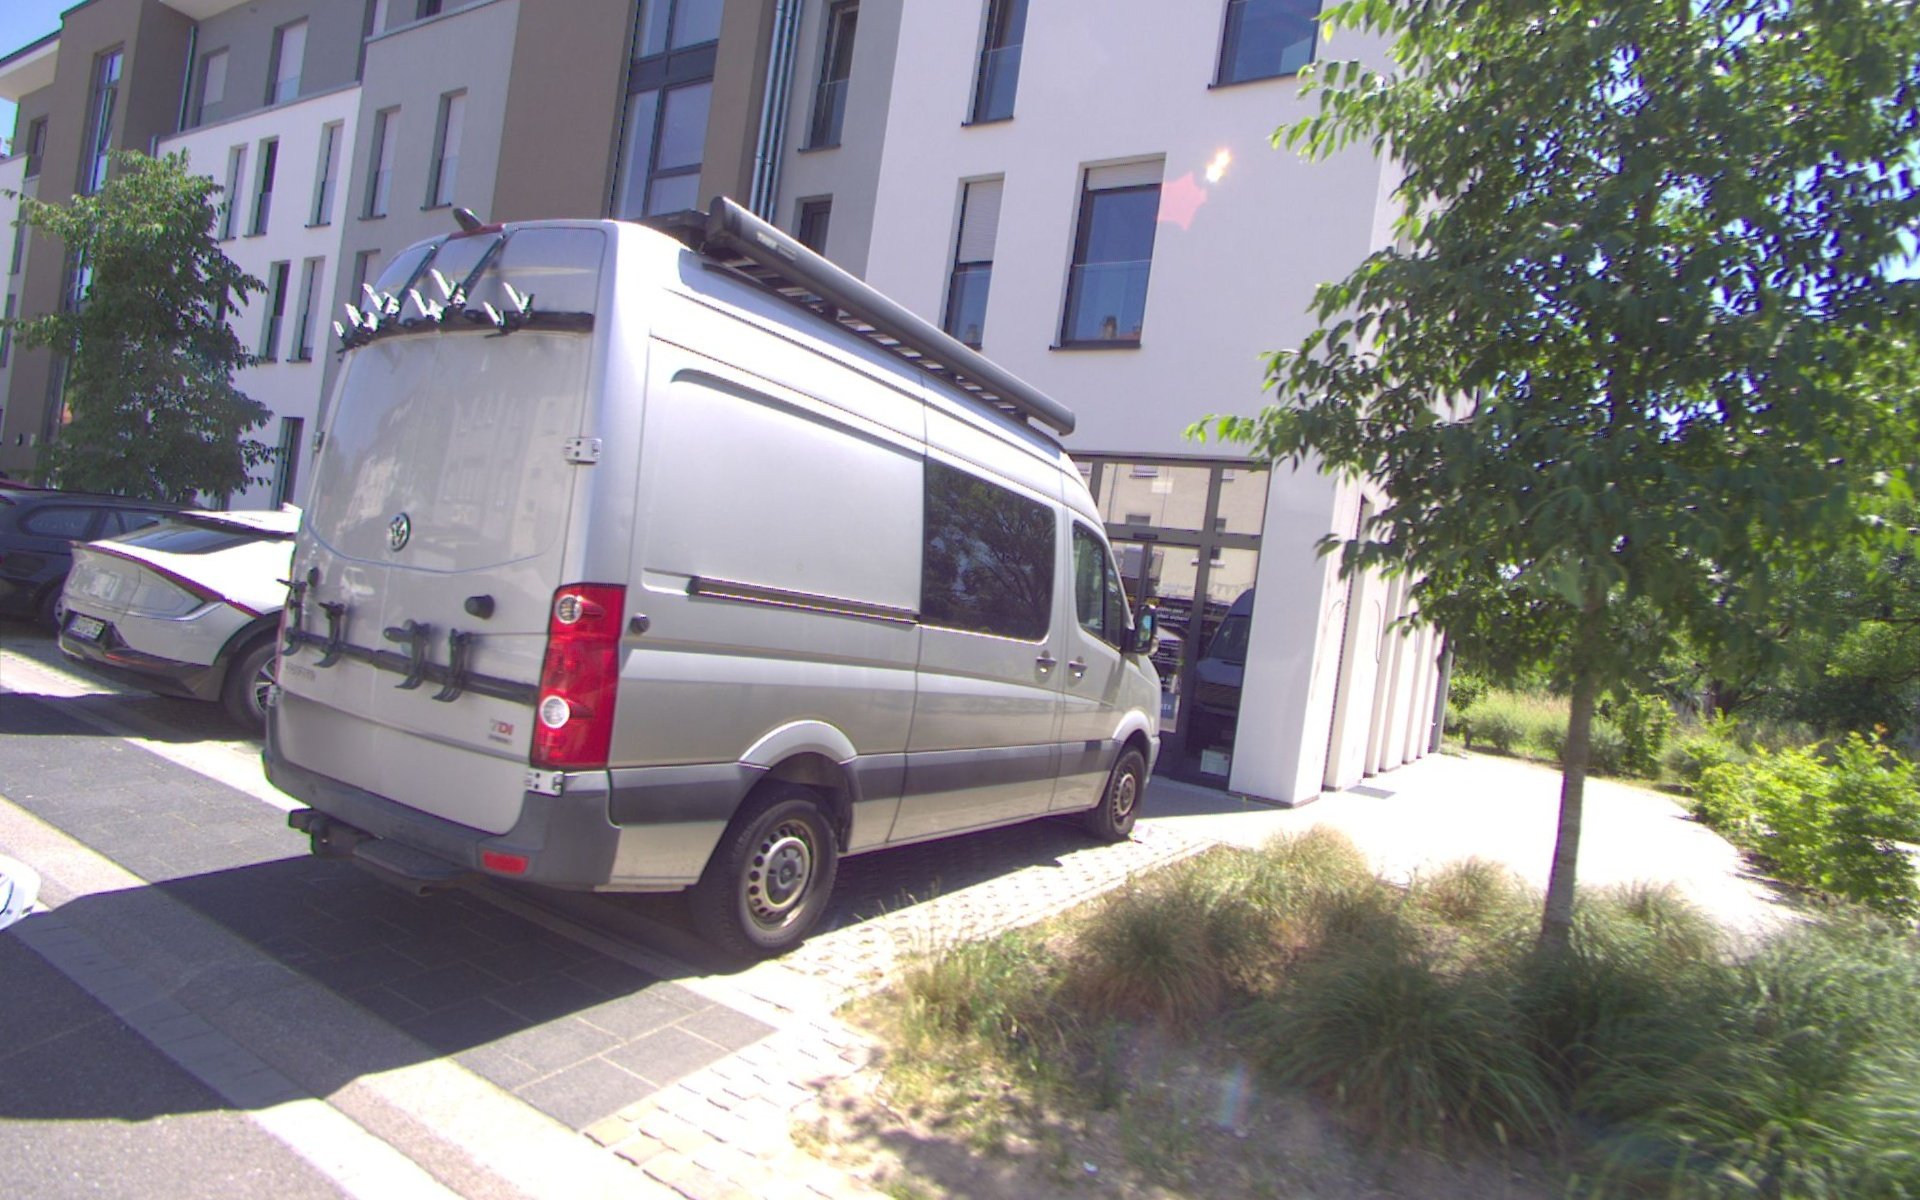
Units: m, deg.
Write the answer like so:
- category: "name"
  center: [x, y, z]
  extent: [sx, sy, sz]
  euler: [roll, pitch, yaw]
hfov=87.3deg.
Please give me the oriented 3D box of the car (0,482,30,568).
- category: "car"
  center: [-19.300, -1.637, 17.600]
  extent: [1.910, 1.547, 3.988]
  euler: [7, -2, 31]

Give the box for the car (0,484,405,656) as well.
- category: "car"
  center: [-8.861, -0.293, 11.190]
  extent: [1.895, 1.433, 4.268]
  euler: [7, -2, 29]

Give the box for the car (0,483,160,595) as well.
- category: "car"
  center: [-14.816, -1.068, 15.081]
  extent: [1.733, 1.448, 3.988]
  euler: [7, -2, 31]

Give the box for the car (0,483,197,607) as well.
- category: "car"
  center: [-12.887, -0.850, 13.308]
  extent: [1.826, 1.426, 3.976]
  euler: [7, -1, 30]

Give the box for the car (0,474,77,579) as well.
- category: "car"
  center: [-17.261, -1.452, 16.262]
  extent: [1.910, 1.624, 3.988]
  euler: [7, -2, 31]

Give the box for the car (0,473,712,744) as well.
- category: "car"
  center: [-4.536, 0.196, 8.380]
  extent: [1.967, 1.547, 4.595]
  euler: [7, -2, 32]

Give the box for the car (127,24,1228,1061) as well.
- category: "car"
  center: [-0.545, 0.017, 5.773]
  extent: [2.160, 2.764, 5.950]
  euler: [7, -1, 32]
